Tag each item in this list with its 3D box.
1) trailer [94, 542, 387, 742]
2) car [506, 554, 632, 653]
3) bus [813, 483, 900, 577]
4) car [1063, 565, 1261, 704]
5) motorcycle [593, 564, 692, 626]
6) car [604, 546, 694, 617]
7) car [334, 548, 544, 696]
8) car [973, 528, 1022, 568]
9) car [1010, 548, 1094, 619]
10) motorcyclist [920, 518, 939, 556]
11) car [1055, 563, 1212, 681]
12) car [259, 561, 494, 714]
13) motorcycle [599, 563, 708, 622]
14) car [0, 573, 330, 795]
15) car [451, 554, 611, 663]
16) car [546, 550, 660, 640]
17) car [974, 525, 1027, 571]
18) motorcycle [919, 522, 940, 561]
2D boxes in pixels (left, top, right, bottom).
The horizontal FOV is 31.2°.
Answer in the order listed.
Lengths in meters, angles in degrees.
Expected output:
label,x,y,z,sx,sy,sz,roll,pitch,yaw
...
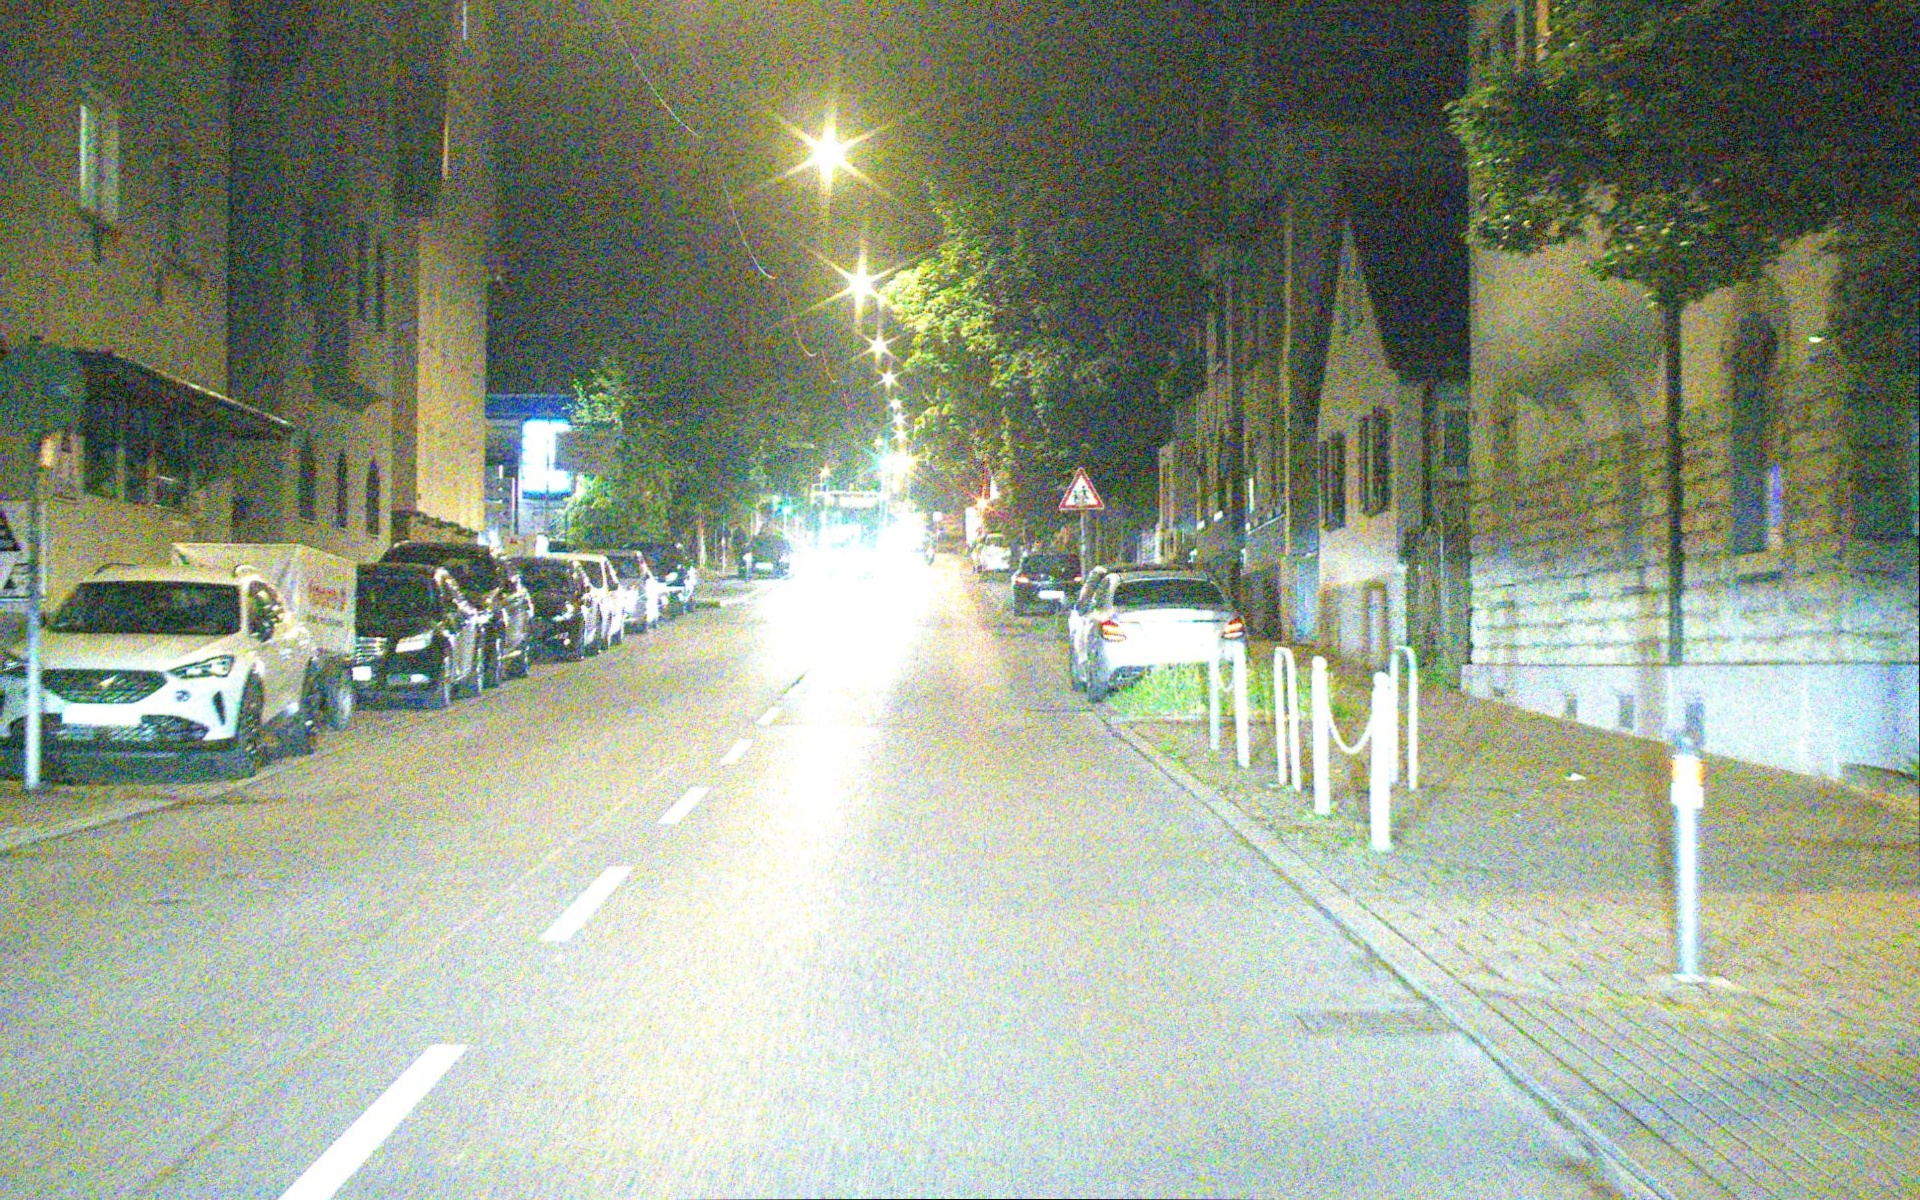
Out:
label,x,y,z,sx,sy,sz,roll,pitch,yaw
trailer,-6.302,0.339,30.451,1.638,1.634,3.439,1,0,4
car,-6.191,0.035,54.727,1.621,1.486,3.781,1,1,-1
bus,-3.650,-2.545,123.350,2.837,3.166,10.499,1,2,0
car,2.238,0.352,39.261,1.845,1.412,4.645,-3,1,-1
motorcycle,-6.165,-0.114,66.714,0.714,1.143,2.208,-2,2,-43
car,-6.681,-0.397,74.034,1.638,1.493,2.765,0,0,1
car,-6.239,0.216,41.589,1.835,1.613,4.545,1,1,0
car,1.513,-2.130,139.884,1.868,1.521,4.150,-1,2,0
car,2.058,-0.397,77.726,1.763,1.471,4.080,-1,2,0
motorcyclist,-1.398,-2.924,160.064,0.848,1.746,0.805,1,0,0
car,2.218,0.252,44.846,1.771,1.443,4.020,0,1,-1
car,-6.104,0.347,36.420,1.835,1.442,4.545,0,2,-2
motorcycle,-6.131,-0.154,68.732,2.206,1.127,0.714,1,2,33
car,-5.997,0.567,25.973,1.814,1.479,4.348,1,1,-2
car,-6.195,0.100,50.042,1.863,1.486,4.281,1,1,-1
car,-6.453,-0.117,62.464,1.704,1.486,4.228,-1,2,-1
car,1.480,-1.940,126.542,1.812,1.588,4.274,-1,2,0
motorcycle,-1.399,-2.708,159.865,0.931,1.746,2.625,1,0,0
